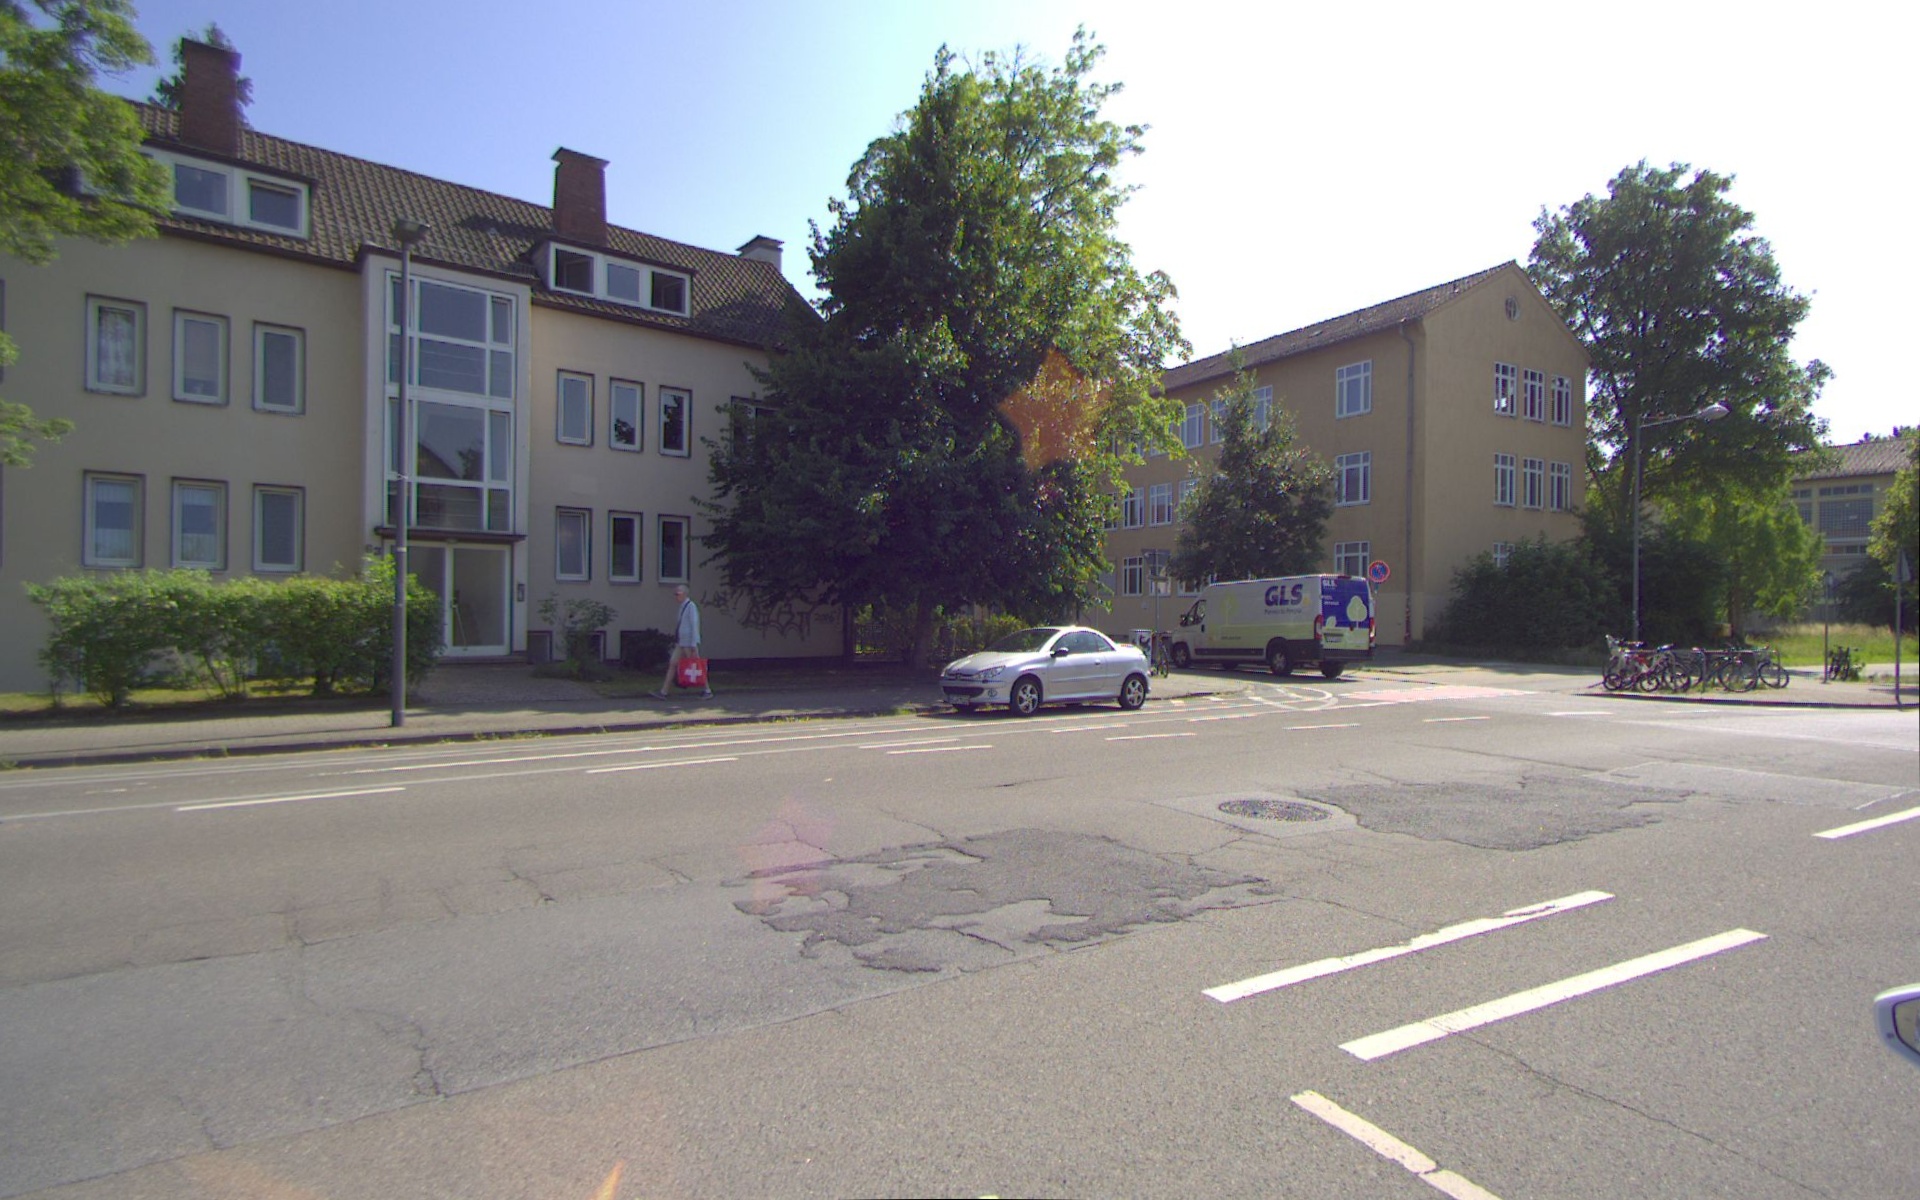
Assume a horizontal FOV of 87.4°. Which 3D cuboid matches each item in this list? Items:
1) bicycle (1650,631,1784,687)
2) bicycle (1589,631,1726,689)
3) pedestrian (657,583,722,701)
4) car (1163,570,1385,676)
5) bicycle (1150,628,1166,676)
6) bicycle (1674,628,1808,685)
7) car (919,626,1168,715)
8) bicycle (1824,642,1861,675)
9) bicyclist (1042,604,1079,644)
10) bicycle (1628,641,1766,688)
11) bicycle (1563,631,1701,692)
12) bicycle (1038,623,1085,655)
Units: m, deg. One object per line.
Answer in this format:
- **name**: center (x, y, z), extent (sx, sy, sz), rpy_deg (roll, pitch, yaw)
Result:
- **bicycle**: center (18.209, 1.389, 24.244), extent (0.731, 1.273, 2.502), rpy_deg (0, -1, -31)
- **bicycle**: center (16.048, 1.353, 23.197), extent (0.731, 1.255, 2.532), rpy_deg (0, -1, -31)
- **pedestrian**: center (-4.312, 0.651, 16.003), extent (0.717, 1.803, 0.968), rpy_deg (1, -1, -33)
- **car**: center (8.400, 0.653, 27.668), extent (2.254, 2.557, 6.094), rpy_deg (1, -2, -27)
- **bicycle**: center (4.878, 1.263, 24.730), extent (0.370, 1.095, 1.717), rpy_deg (0, 0, 12)
- **bicycle**: center (19.262, 1.367, 24.844), extent (0.731, 1.273, 2.531), rpy_deg (1, -1, -31)
- **car**: center (1.426, 1.072, 16.444), extent (3.963, 1.283, 1.708), rpy_deg (1, -2, -37)
- **bicycle**: center (25.656, 1.700, 29.208), extent (1.258, 0.915, 0.517), rpy_deg (2, -2, -34)
- **bicyclist**: center (3.677, 0.868, 36.818), extent (0.943, 1.422, 1.352), rpy_deg (0, -1, -14)
- **bicycle**: center (17.189, 1.472, 23.518), extent (0.731, 1.000, 2.532), rpy_deg (1, -1, -31)
- **bicycle**: center (15.156, 1.357, 22.738), extent (0.731, 1.273, 2.532), rpy_deg (0, -1, -31)
- **bicycle**: center (3.689, 1.421, 36.830), extent (0.943, 1.128, 2.546), rpy_deg (0, -1, -13)
